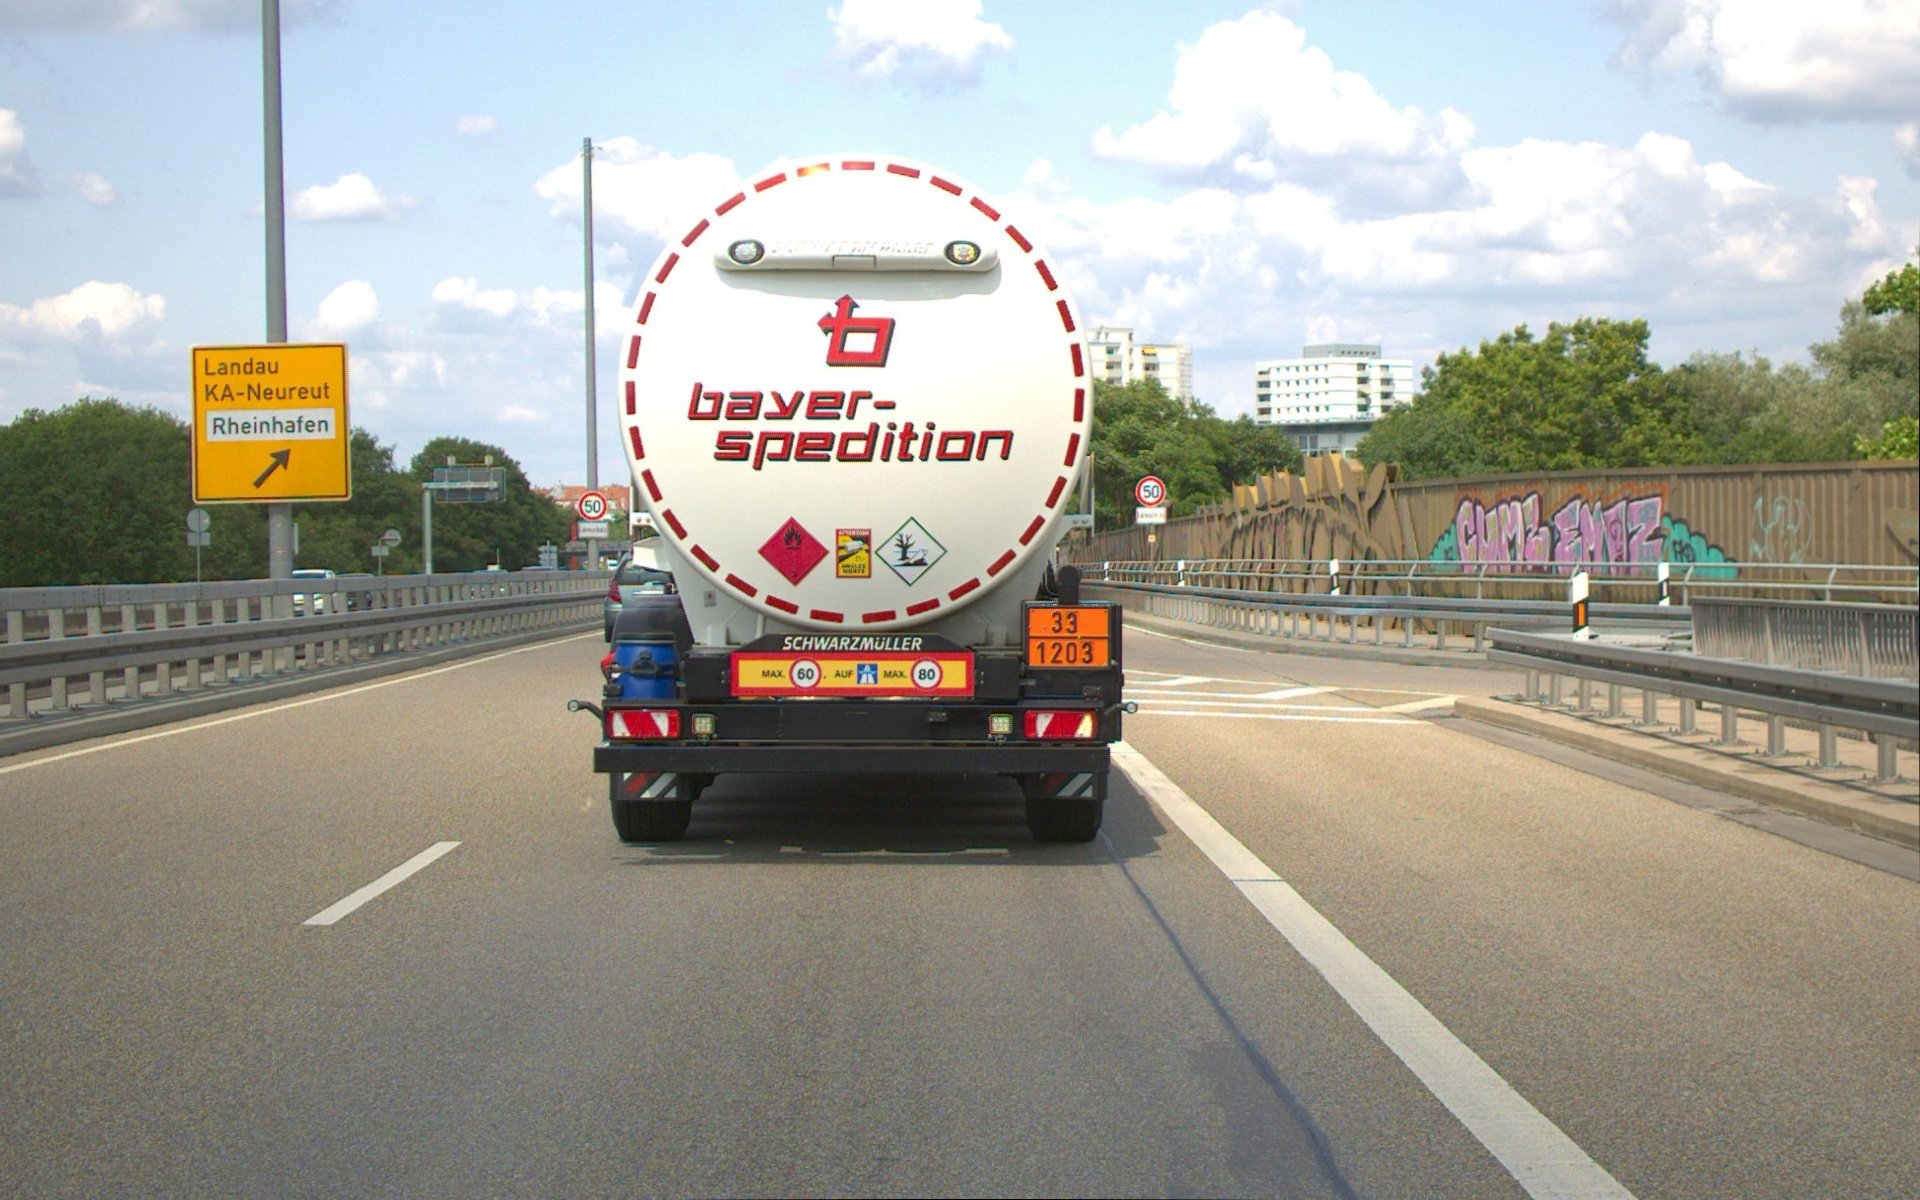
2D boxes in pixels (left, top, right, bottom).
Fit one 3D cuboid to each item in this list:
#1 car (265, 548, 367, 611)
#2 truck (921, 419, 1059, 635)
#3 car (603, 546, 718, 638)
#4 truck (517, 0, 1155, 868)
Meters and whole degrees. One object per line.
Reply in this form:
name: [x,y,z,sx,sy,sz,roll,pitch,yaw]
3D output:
car: [-17.187,-0.567,91.973,1.797,1.590,4.712,-1,1,0]
truck: [0.630,-1.690,80.806,2.895,4.791,8.030,1,1,-1]
car: [-5.212,-0.161,60.239,1.747,1.526,4.000,0,1,-1]
truck: [-0.671,-1.016,19.910,2.895,4.354,8.030,1,1,-1]
